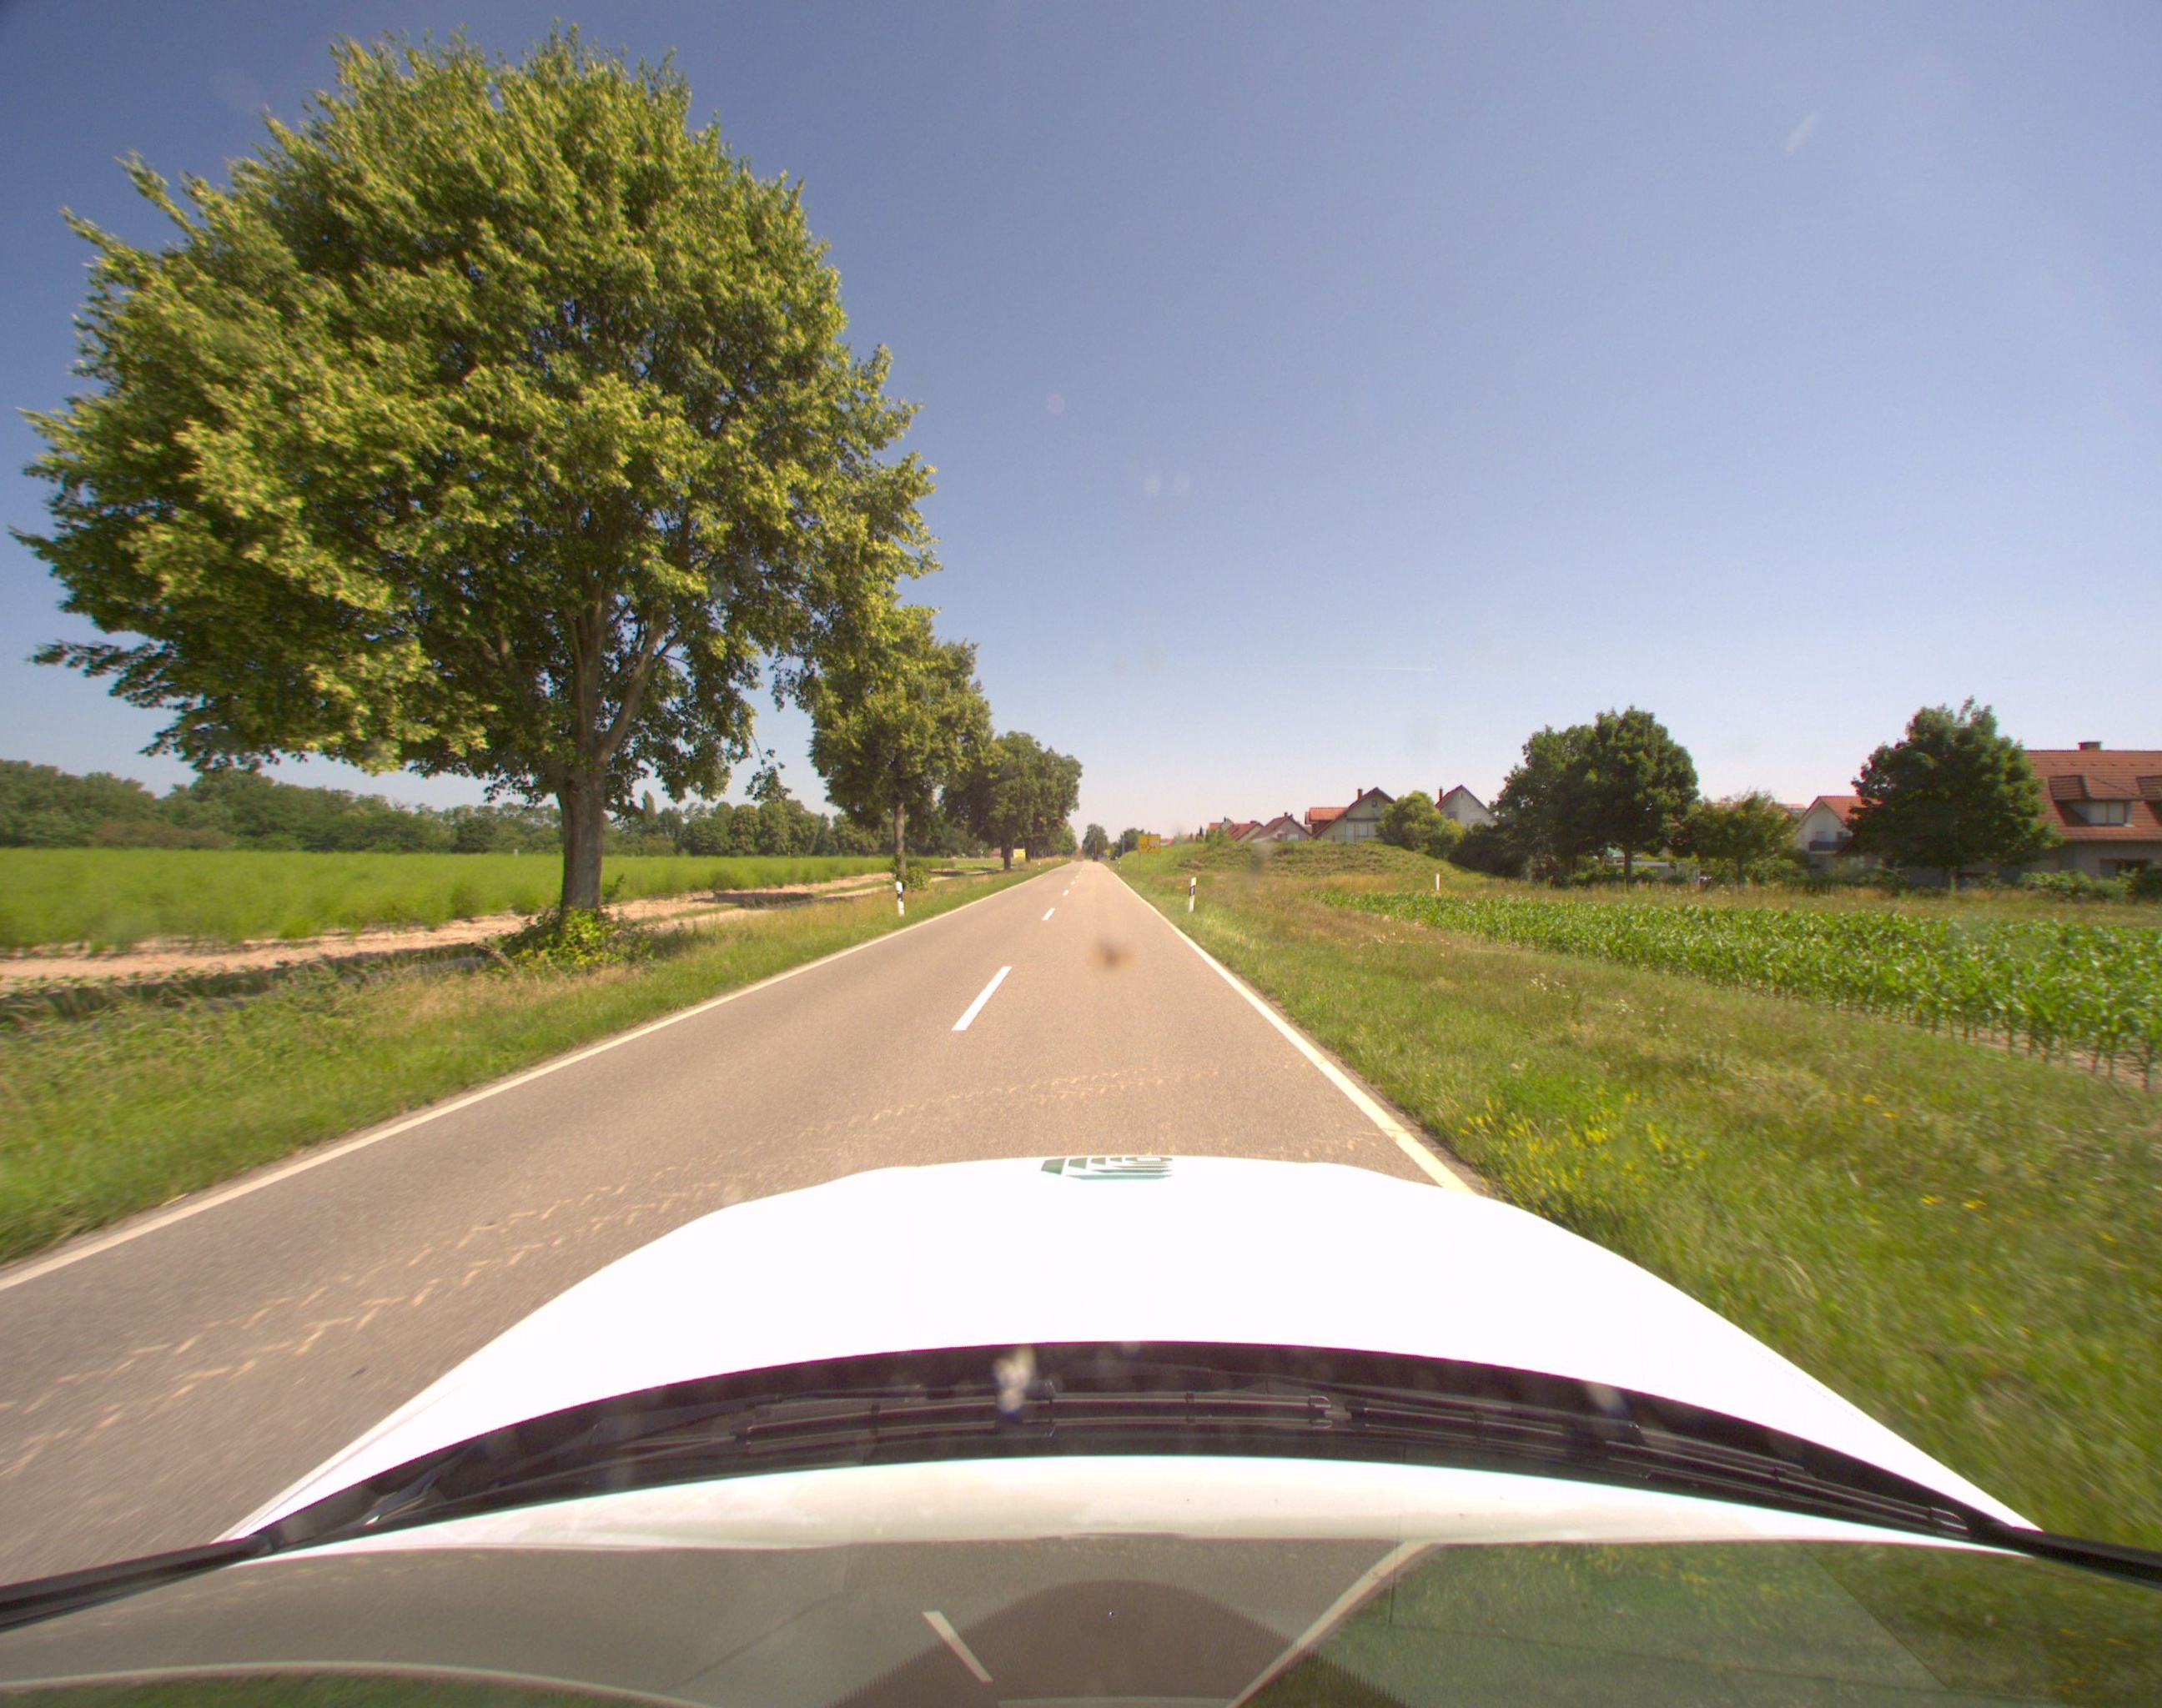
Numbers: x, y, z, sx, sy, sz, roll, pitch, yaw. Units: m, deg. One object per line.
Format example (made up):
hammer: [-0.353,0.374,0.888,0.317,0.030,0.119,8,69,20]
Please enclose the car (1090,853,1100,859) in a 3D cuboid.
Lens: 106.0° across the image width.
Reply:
car: [3.650,0.464,212.079,1.826,1.536,3.622,0,0,12]
